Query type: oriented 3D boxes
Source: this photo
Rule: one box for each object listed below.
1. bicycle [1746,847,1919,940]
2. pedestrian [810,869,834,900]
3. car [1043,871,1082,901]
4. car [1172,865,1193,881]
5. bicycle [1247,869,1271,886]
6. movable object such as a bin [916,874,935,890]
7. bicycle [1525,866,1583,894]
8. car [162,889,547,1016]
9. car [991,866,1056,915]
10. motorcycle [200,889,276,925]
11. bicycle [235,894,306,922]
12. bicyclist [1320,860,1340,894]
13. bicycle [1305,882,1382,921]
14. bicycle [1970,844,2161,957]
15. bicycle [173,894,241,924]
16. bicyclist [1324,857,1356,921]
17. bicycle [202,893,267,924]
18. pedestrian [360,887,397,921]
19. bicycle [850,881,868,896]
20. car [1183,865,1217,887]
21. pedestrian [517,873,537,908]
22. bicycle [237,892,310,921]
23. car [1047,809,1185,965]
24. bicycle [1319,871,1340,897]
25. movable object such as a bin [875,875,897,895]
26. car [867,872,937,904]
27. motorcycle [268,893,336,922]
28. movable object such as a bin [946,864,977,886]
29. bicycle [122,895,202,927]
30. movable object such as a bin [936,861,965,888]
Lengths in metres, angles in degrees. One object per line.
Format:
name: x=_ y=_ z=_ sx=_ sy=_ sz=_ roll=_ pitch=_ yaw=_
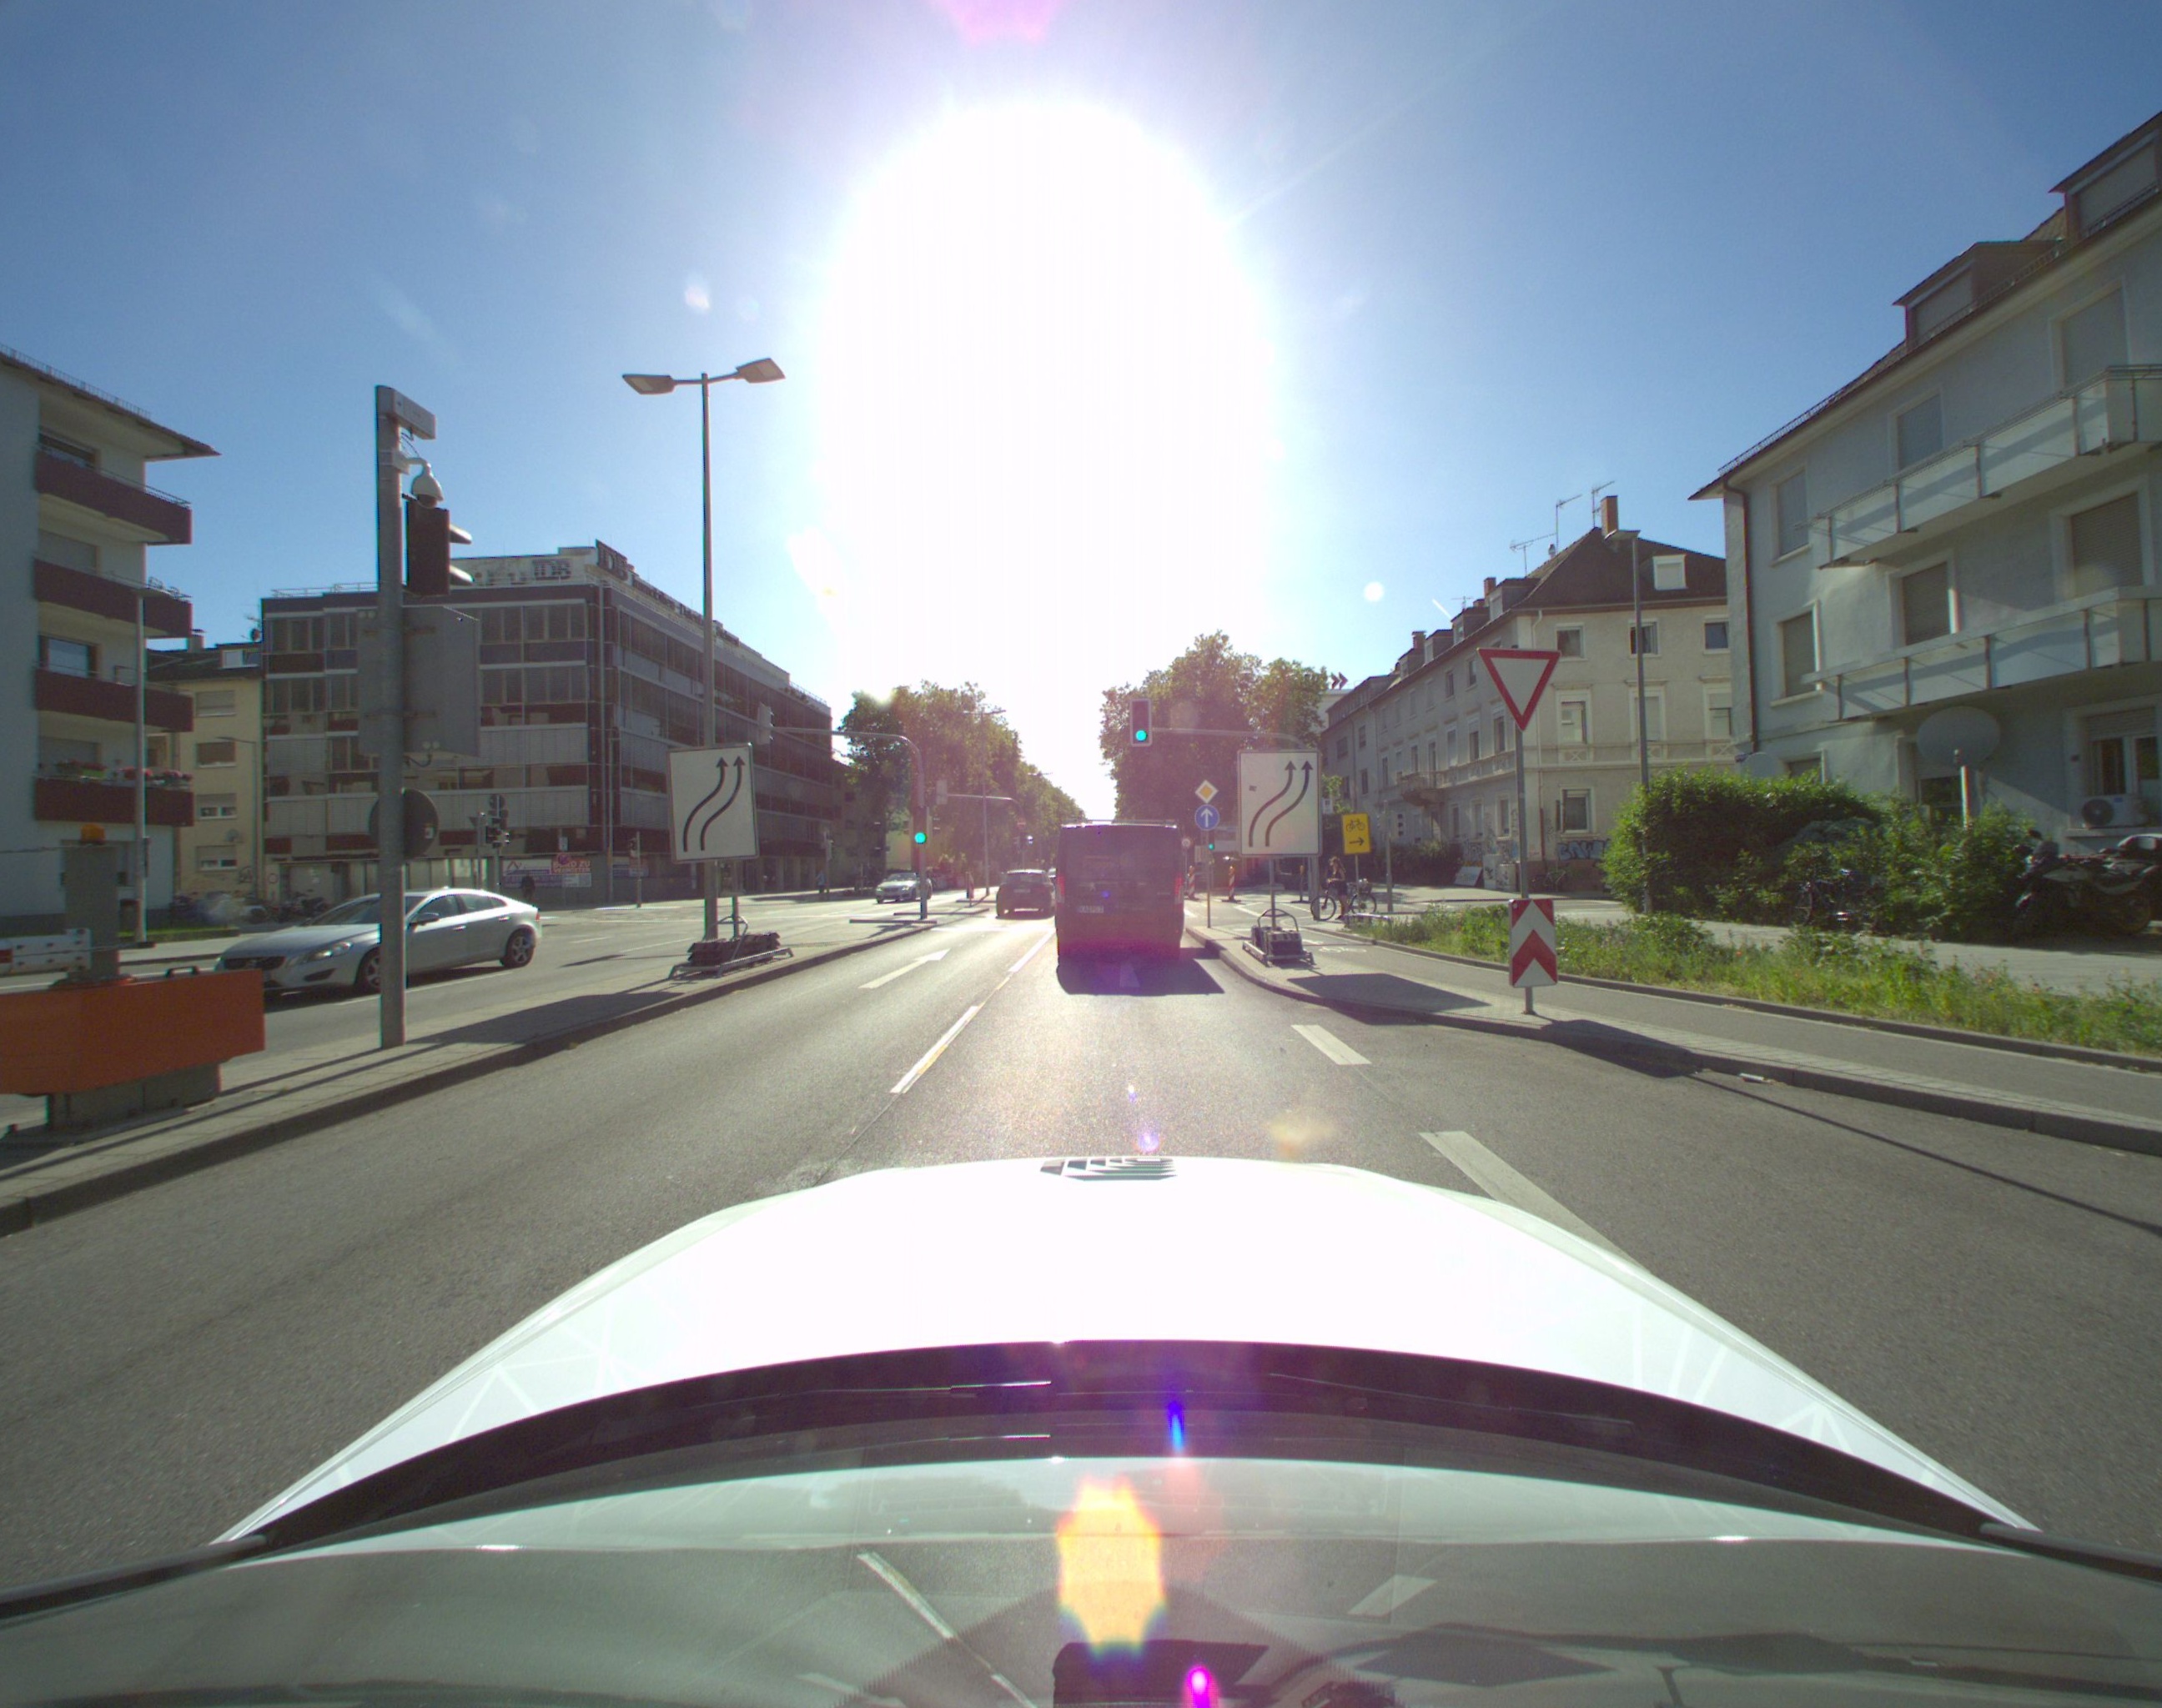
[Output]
bicycle: x=12.644 y=0.610 z=13.846 sx=0.705 sy=1.443 sz=2.492 roll=0 pitch=0 yaw=2
pedestrian: x=-14.781 y=1.747 z=46.472 sx=0.859 sy=1.711 sz=1.015 roll=-1 pitch=-1 yaw=10
car: x=-0.882 y=1.544 z=40.154 sx=1.740 sy=1.407 sz=4.000 roll=0 pitch=-1 yaw=1
car: x=9.770 y=1.830 z=78.636 sx=1.756 sy=1.508 sz=4.253 roll=-1 pitch=-1 yaw=3
bicycle: x=11.052 y=1.436 z=50.609 sx=0.581 sy=1.005 sz=2.145 roll=-2 pitch=-1 yaw=37
movable object such as a bin: x=-13.592 y=2.448 z=71.280 sx=1.403 sy=1.338 sz=0.937 roll=-1 pitch=-1 yaw=4
bicycle: x=19.135 y=1.037 z=32.969 sx=1.987 sy=1.080 sz=0.580 roll=-1 pitch=-1 yaw=4
car: x=-10.983 y=1.385 z=12.888 sx=1.986 sy=1.453 sz=4.393 roll=2 pitch=0 yaw=2
car: x=-1.800 y=1.125 z=26.457 sx=1.740 sy=1.407 sz=4.001 roll=0 pitch=0 yaw=1
motorcycle: x=-29.448 y=1.831 z=28.497 sx=0.607 sy=1.142 sz=1.789 roll=-1 pitch=-1 yaw=12
bicycle: x=-30.449 y=2.011 z=30.636 sx=0.474 sy=0.947 sz=1.957 roll=-1 pitch=-1 yaw=12
bicyclist: x=11.146 y=1.017 z=36.481 sx=0.717 sy=1.499 sz=0.876 roll=-2 pitch=-1 yaw=23
bicycle: x=7.215 y=1.305 z=22.443 sx=1.955 sy=1.025 sz=0.605 roll=0 pitch=0 yaw=2
bicycle: x=13.830 y=0.624 z=11.298 sx=2.247 sy=1.485 sz=0.638 roll=-1 pitch=-1 yaw=0
bicycle: x=-32.453 y=2.033 z=30.261 sx=0.505 sy=1.003 sz=1.740 roll=-1 pitch=-1 yaw=8
bicyclist: x=7.157 y=0.956 z=22.505 sx=0.601 sy=1.708 sz=0.859 roll=-1 pitch=-1 yaw=3
bicycle: x=-31.387 y=2.005 z=30.225 sx=0.486 sy=1.068 sz=1.739 roll=-1 pitch=-1 yaw=5
pedestrian: x=-25.402 y=1.799 z=29.460 sx=0.717 sy=1.153 sz=0.786 roll=-1 pitch=-1 yaw=-10
bicycle: x=-15.927 y=2.463 z=58.381 sx=0.624 sy=1.037 sz=1.881 roll=-1 pitch=-1 yaw=4
car: x=8.660 y=1.599 z=59.427 sx=1.845 sy=1.479 sz=4.943 roll=-1 pitch=-1 yaw=1
pedestrian: x=-26.789 y=1.763 z=39.357 sx=0.702 sy=1.658 sz=0.739 roll=-1 pitch=-1 yaw=-28
bicycle: x=-29.911 y=1.936 z=30.210 sx=0.502 sy=0.978 sz=1.894 roll=-1 pitch=-1 yaw=19
car: x=0.602 y=0.517 z=14.362 sx=2.087 sy=2.355 sz=3.934 roll=-1 pitch=0 yaw=2
bicycle: x=11.214 y=1.353 z=36.658 sx=0.682 sy=1.098 sz=1.696 roll=-2 pitch=-1 yaw=24
movable object such as a bin: x=-14.565 y=2.311 z=60.873 sx=1.109 sy=1.388 sz=1.858 roll=-1 pitch=-1 yaw=4
car: x=-8.519 y=1.603 z=39.136 sx=1.921 sy=1.345 sz=4.324 roll=-1 pitch=-1 yaw=6
motorcycle: x=-28.303 y=1.941 z=29.617 sx=0.500 sy=0.936 sz=1.847 roll=-1 pitch=-1 yaw=10
movable object such as a bin: x=-13.173 y=2.318 z=89.928 sx=1.984 sy=2.279 sz=5.606 roll=-2 pitch=-1 yaw=5
bicycle: x=-30.908 y=1.914 z=27.423 sx=0.571 sy=0.969 sz=1.740 roll=-1 pitch=-1 yaw=8
movable object such as a bin: x=-13.377 y=2.105 z=83.749 sx=2.139 sy=2.706 sz=5.353 roll=-1 pitch=-1 yaw=0
